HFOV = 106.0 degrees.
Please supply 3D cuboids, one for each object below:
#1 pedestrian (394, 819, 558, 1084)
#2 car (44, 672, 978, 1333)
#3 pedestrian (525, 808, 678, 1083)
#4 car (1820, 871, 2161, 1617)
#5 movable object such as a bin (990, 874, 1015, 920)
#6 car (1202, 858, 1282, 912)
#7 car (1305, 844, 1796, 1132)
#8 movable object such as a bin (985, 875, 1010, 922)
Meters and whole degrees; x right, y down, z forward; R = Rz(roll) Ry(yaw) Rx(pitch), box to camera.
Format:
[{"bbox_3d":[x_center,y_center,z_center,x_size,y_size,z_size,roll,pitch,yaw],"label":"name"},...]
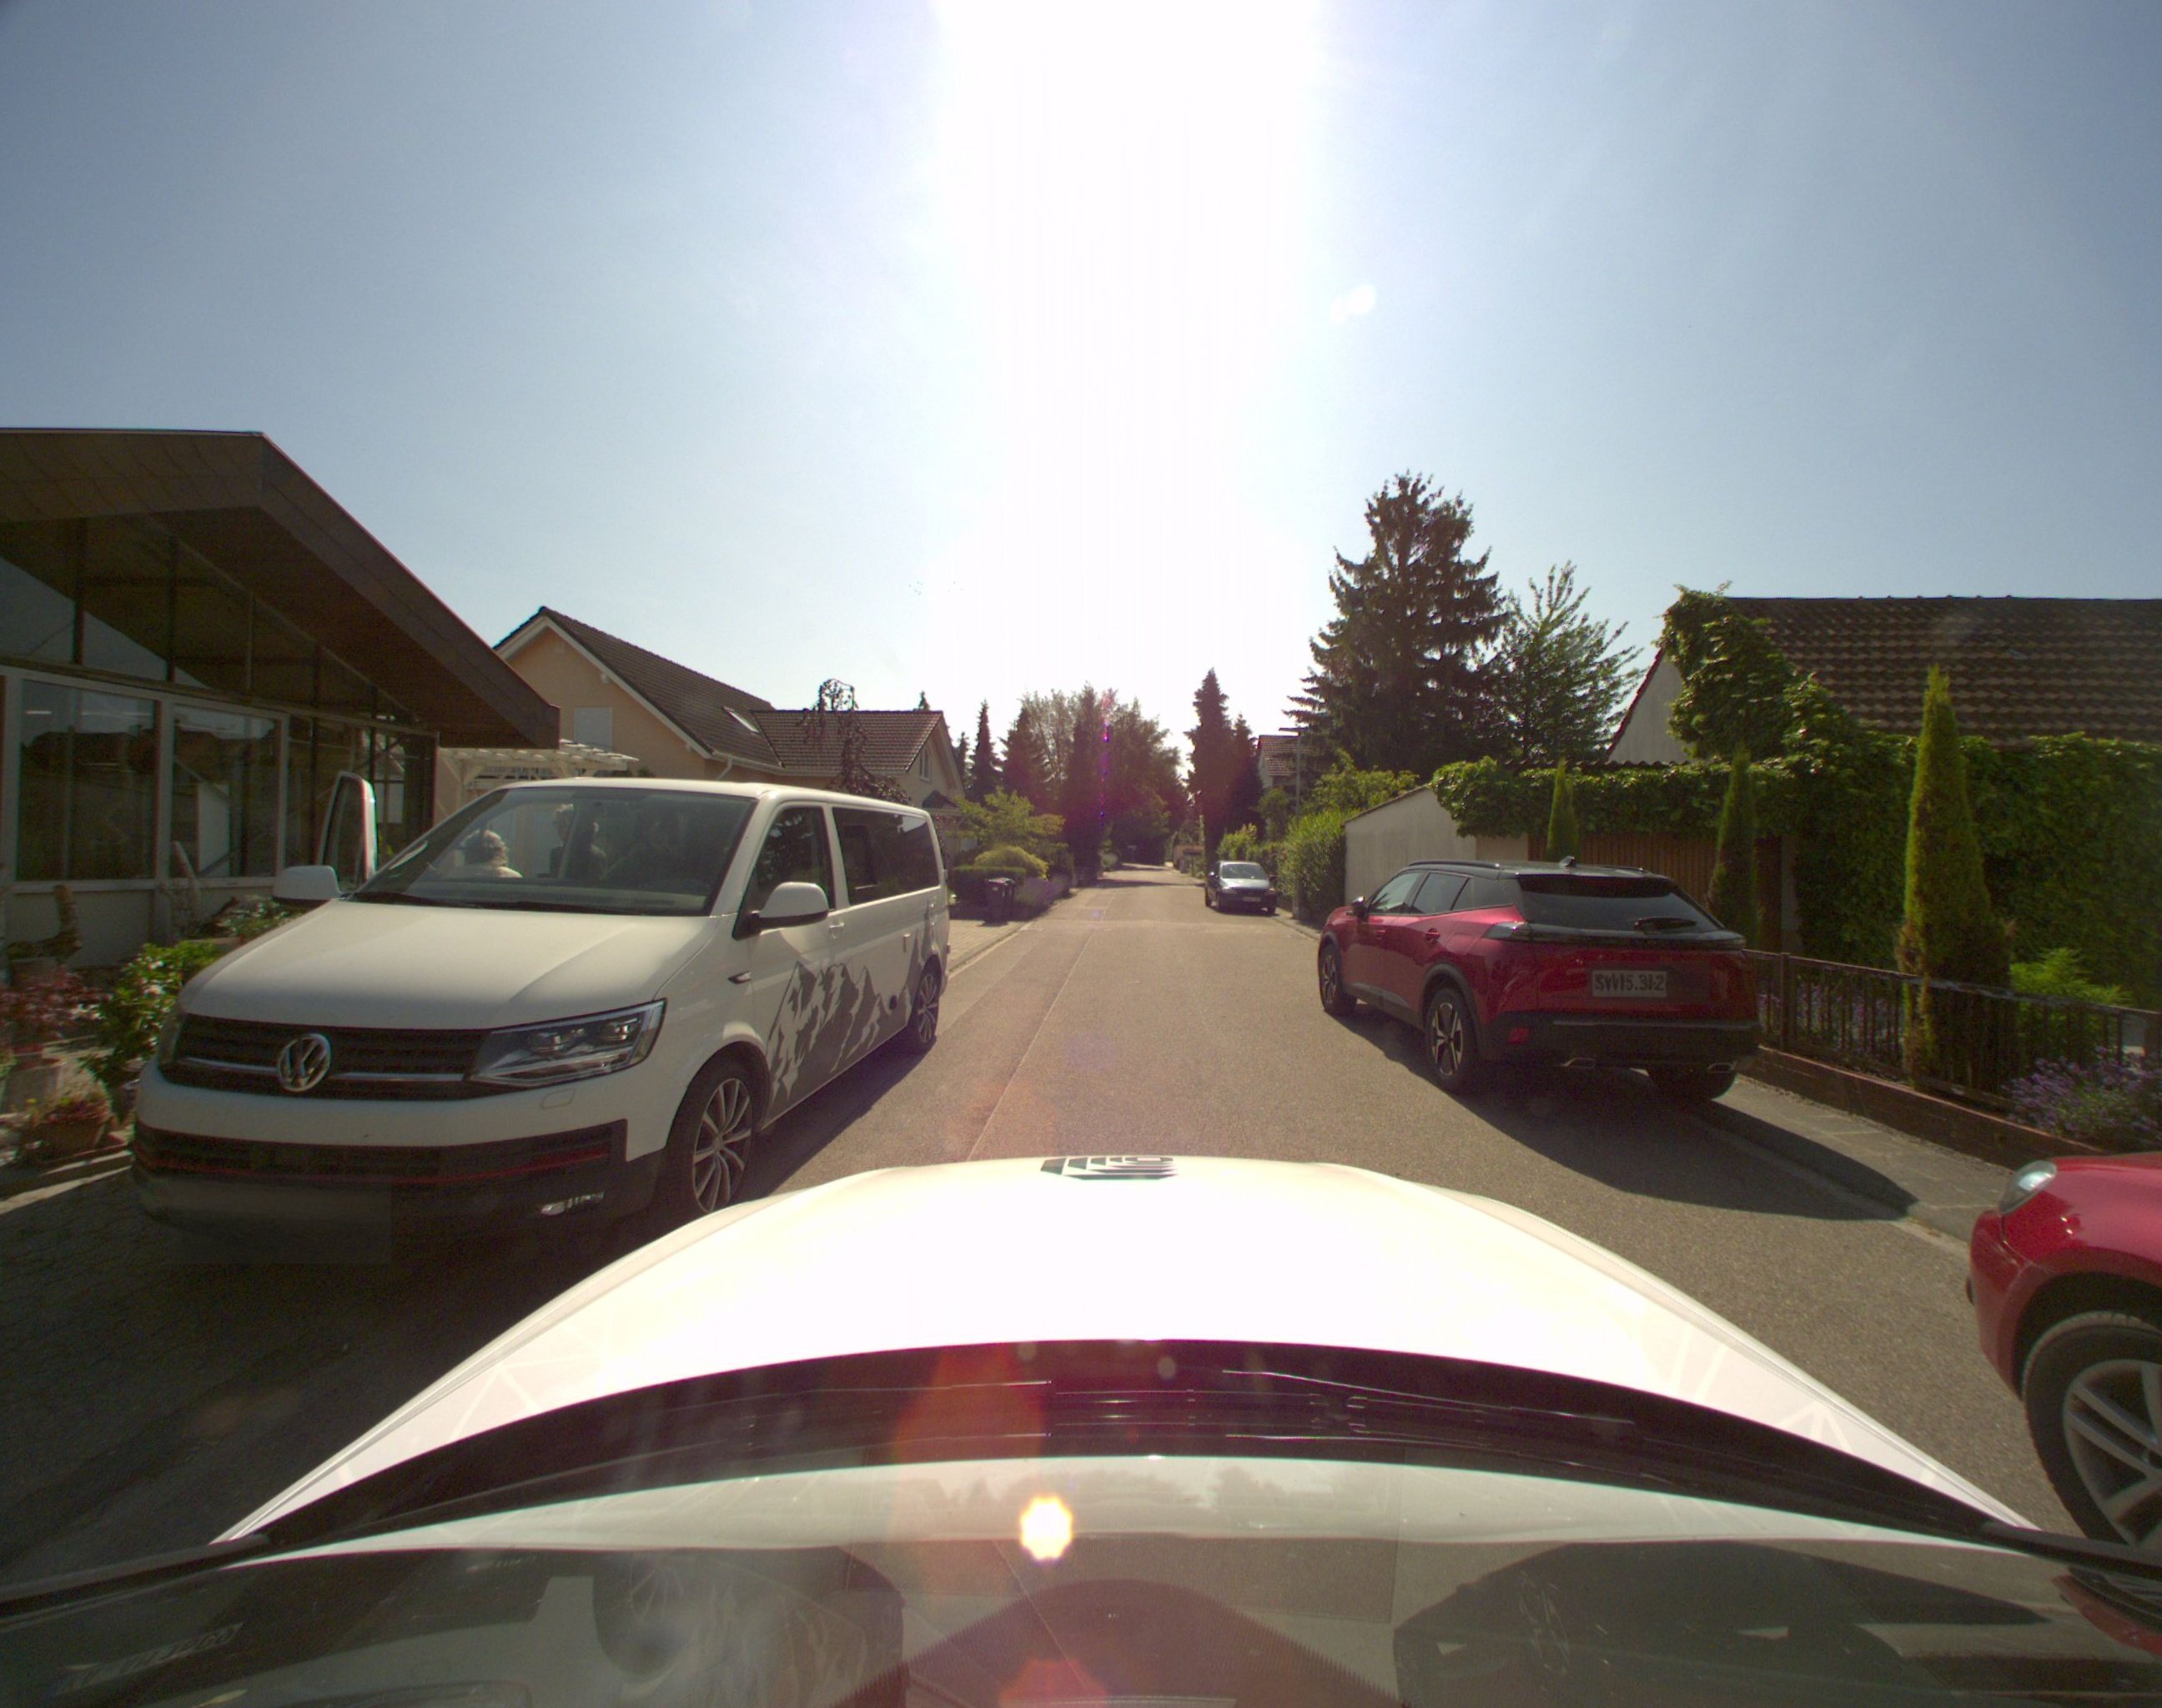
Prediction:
[{"bbox_3d":[-3.858,0.562,5.200,0.710,1.538,0.646,1,0,37],"label":"pedestrian"},{"bbox_3d":[-2.142,0.449,5.003,1.919,2.014,4.903,1,0,6],"label":"car"},{"bbox_3d":[-3.283,0.570,5.587,0.683,1.731,0.646,1,0,34],"label":"pedestrian"},{"bbox_3d":[2.922,0.814,0.426,1.766,1.479,4.008,2,0,7],"label":"car"},{"bbox_3d":[-1.784,0.976,18.587,0.492,1.024,0.448,0,0,4],"label":"movable object such as a bin"},{"bbox_3d":[4.634,0.850,23.930,1.695,1.399,4.003,1,0,3],"label":"car"},{"bbox_3d":[3.274,0.782,6.729,1.816,1.615,4.001,2,0,1],"label":"car"},{"bbox_3d":[-1.856,0.983,18.127,0.492,1.024,0.448,0,0,4],"label":"movable object such as a bin"}]
